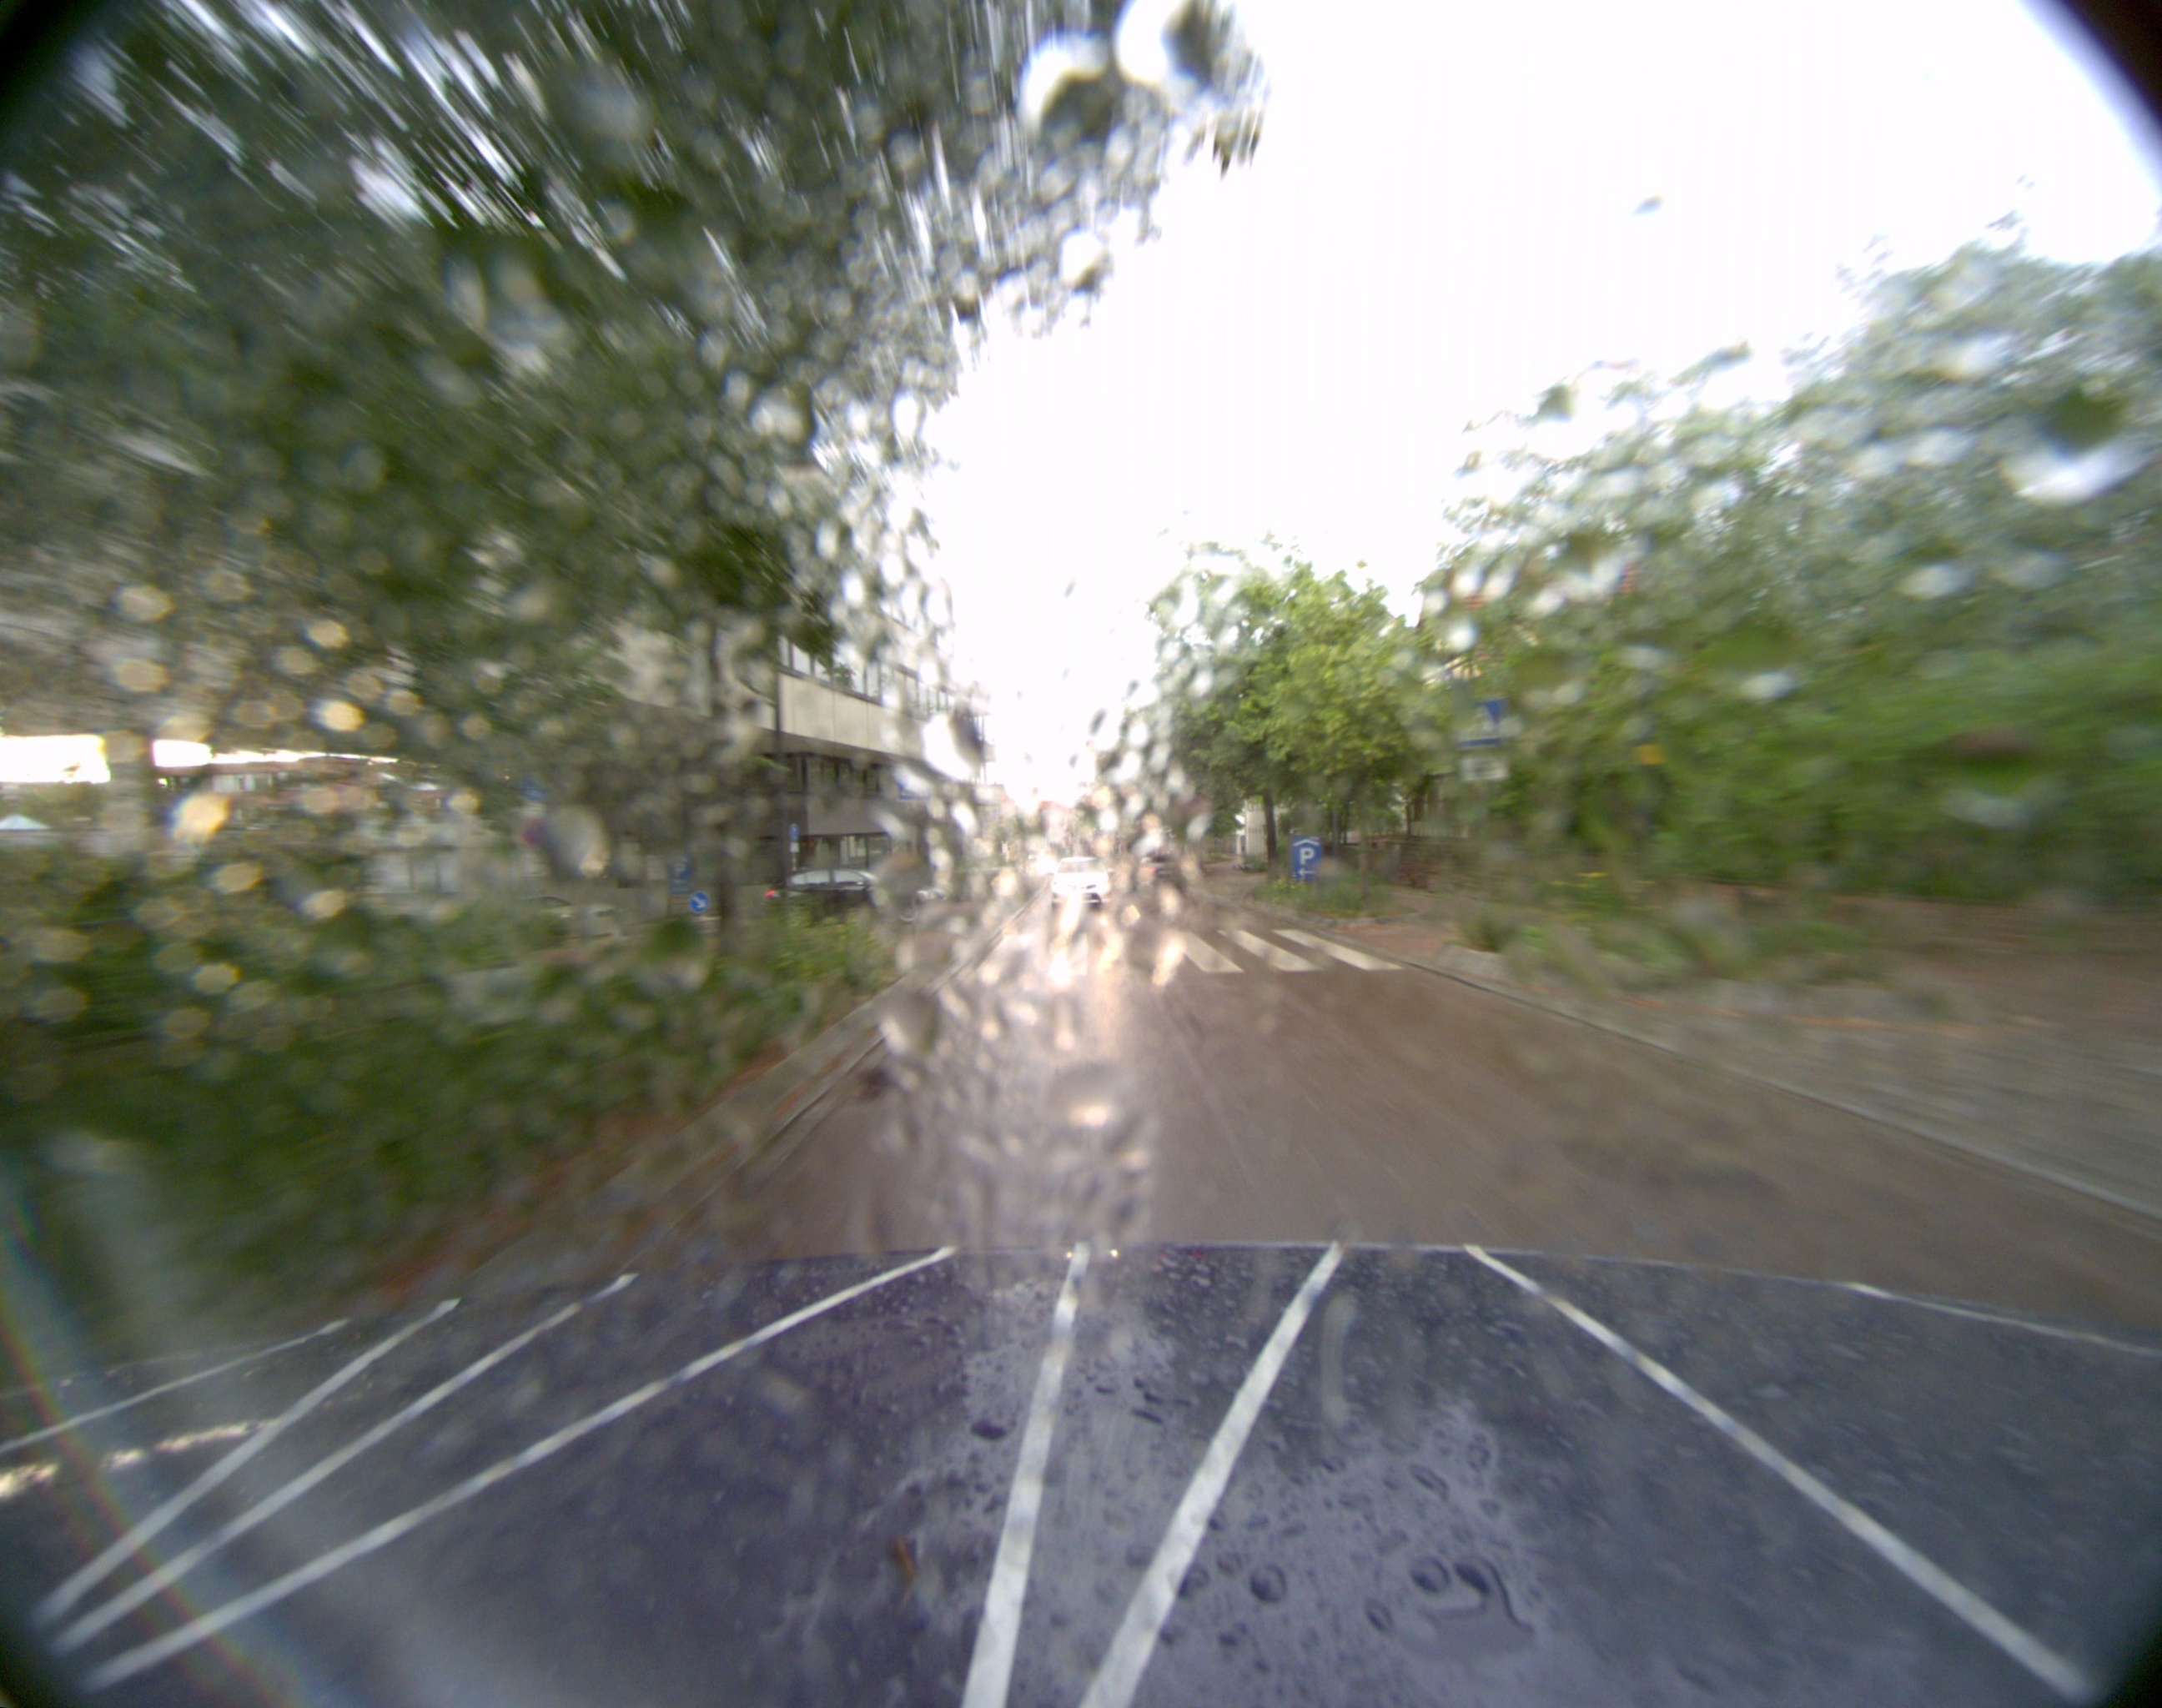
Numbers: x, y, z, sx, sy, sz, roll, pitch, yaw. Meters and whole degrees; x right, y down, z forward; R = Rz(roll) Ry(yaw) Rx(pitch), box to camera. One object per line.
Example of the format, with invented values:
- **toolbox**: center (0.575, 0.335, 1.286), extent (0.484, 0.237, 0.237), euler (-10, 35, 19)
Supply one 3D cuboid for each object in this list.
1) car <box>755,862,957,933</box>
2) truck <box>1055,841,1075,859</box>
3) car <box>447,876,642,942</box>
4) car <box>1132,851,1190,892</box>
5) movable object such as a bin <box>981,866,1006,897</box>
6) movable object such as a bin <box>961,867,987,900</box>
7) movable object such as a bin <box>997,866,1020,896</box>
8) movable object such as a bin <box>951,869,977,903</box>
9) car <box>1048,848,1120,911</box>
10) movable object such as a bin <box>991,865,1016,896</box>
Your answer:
- **car**: center (-5.350, 1.014, 18.462), extent (4.294, 1.408, 1.840), euler (-3, 0, -1)
- **truck**: center (-2.590, -0.629, 120.867), extent (2.407, 2.579, 6.479), euler (-2, -1, -8)
- **car**: center (-13.852, 1.404, 19.707), extent (3.994, 1.434, 1.745), euler (-2, 2, 11)
- **car**: center (3.055, 0.620, 29.803), extent (1.860, 1.377, 4.408), euler (-3, 0, 1)
- **movable object such as a bin**: center (-3.176, 0.995, 27.598), extent (0.704, 1.104, 0.572), euler (0, 2, 25)
- **movable object such as a bin**: center (-3.801, 1.041, 27.005), extent (0.703, 1.096, 0.572), euler (1, 3, 43)
- **movable object such as a bin**: center (-2.753, 1.011, 28.956), extent (0.704, 1.118, 0.572), euler (0, 2, 16)
- **movable object such as a bin**: center (-4.056, 1.100, 26.342), extent (0.703, 1.096, 0.572), euler (1, 3, 43)
- **car**: center (-0.009, 0.690, 23.258), extent (1.868, 1.578, 4.611), euler (-2, 2, -3)
- **movable object such as a bin**: center (-2.874, 0.966, 28.157), extent (0.704, 1.101, 0.572), euler (0, 2, 27)
